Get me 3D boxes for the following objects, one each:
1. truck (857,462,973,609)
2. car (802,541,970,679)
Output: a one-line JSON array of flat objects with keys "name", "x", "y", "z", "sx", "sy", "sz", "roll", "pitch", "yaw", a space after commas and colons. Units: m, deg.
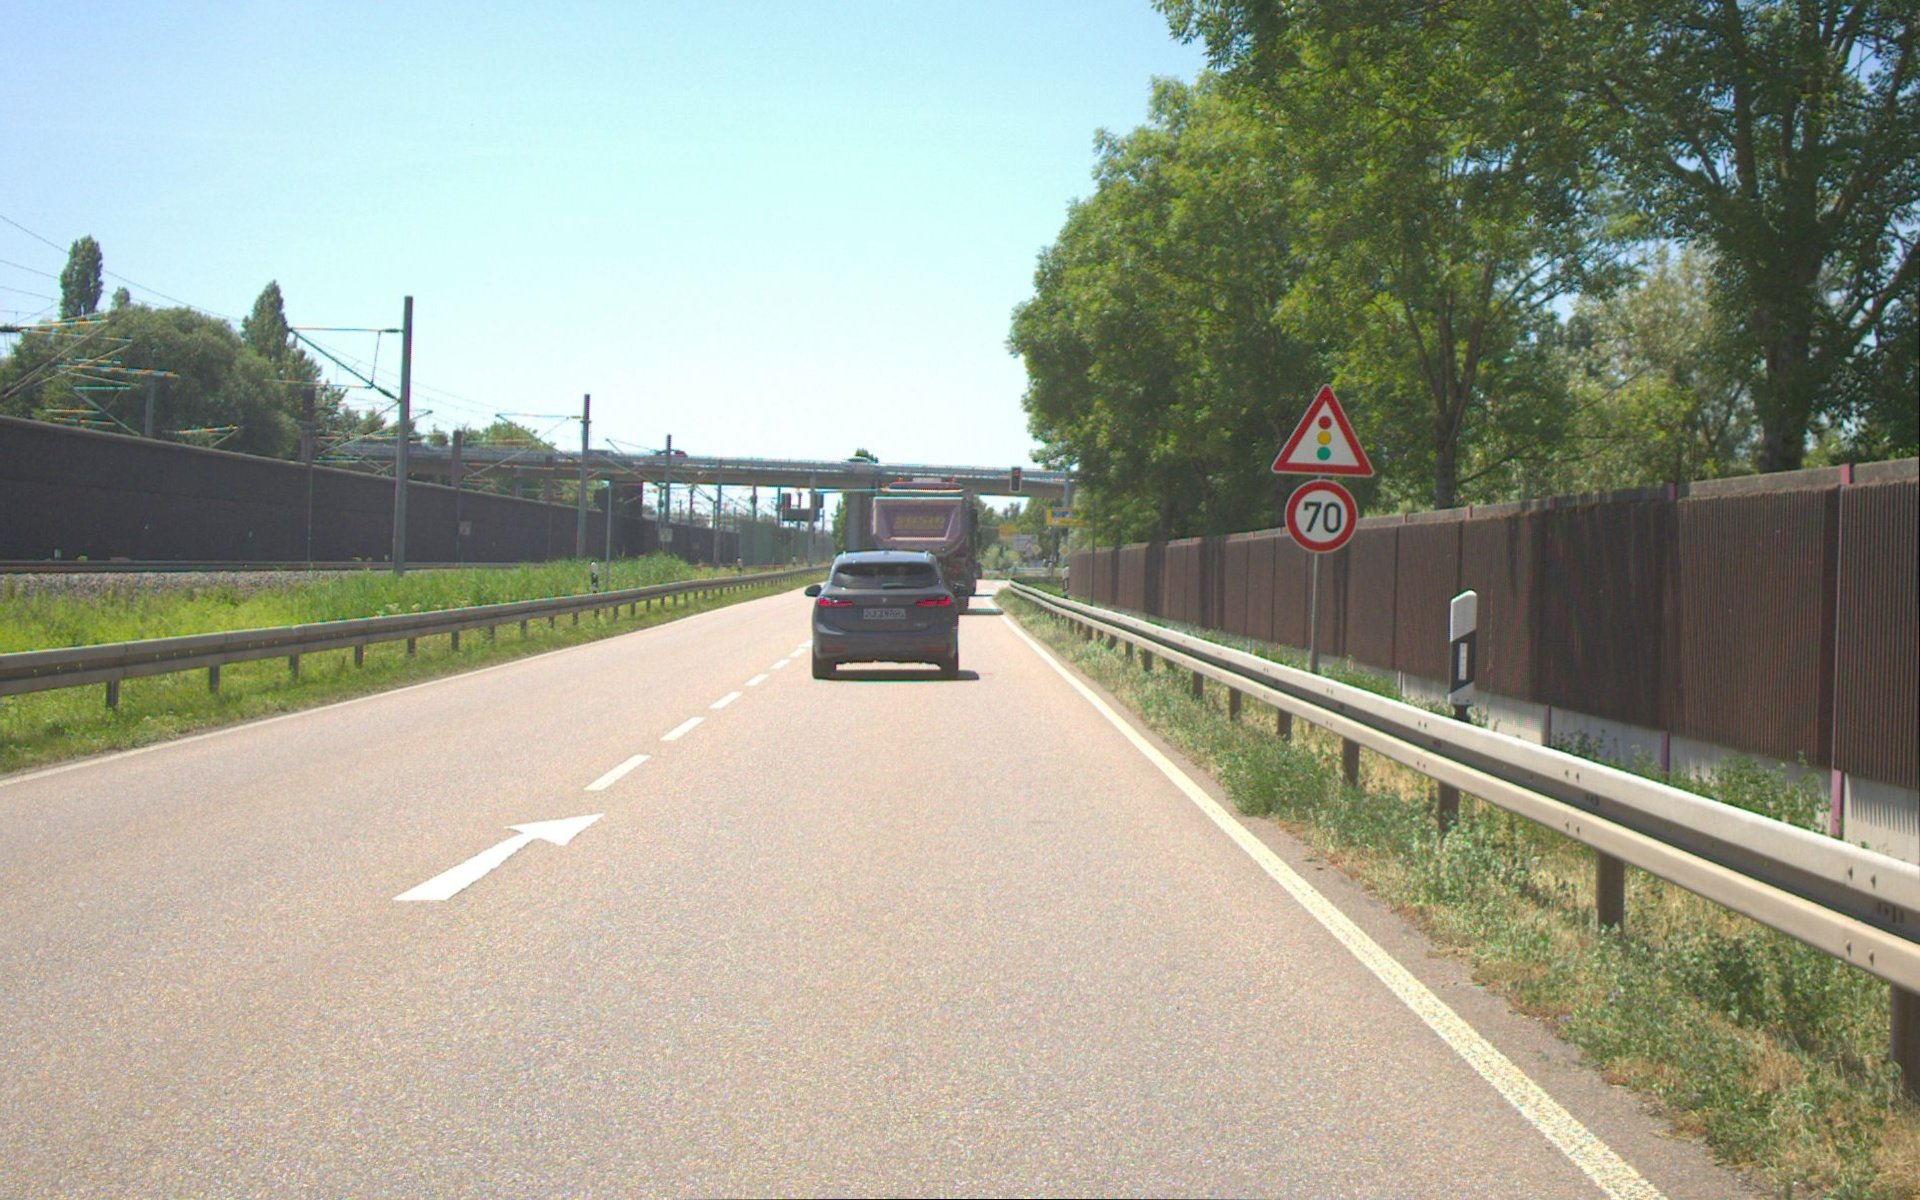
[{"name": "truck", "x": -1.160, "y": -1.744, "z": 96.027, "sx": 2.833, "sy": 3.808, "sz": 11.885, "roll": 1, "pitch": 1, "yaw": 1}, {"name": "car", "x": -0.878, "y": 0.098, "z": 43.314, "sx": 1.845, "sy": 1.617, "sz": 4.225, "roll": 1, "pitch": 1, "yaw": 2}]
